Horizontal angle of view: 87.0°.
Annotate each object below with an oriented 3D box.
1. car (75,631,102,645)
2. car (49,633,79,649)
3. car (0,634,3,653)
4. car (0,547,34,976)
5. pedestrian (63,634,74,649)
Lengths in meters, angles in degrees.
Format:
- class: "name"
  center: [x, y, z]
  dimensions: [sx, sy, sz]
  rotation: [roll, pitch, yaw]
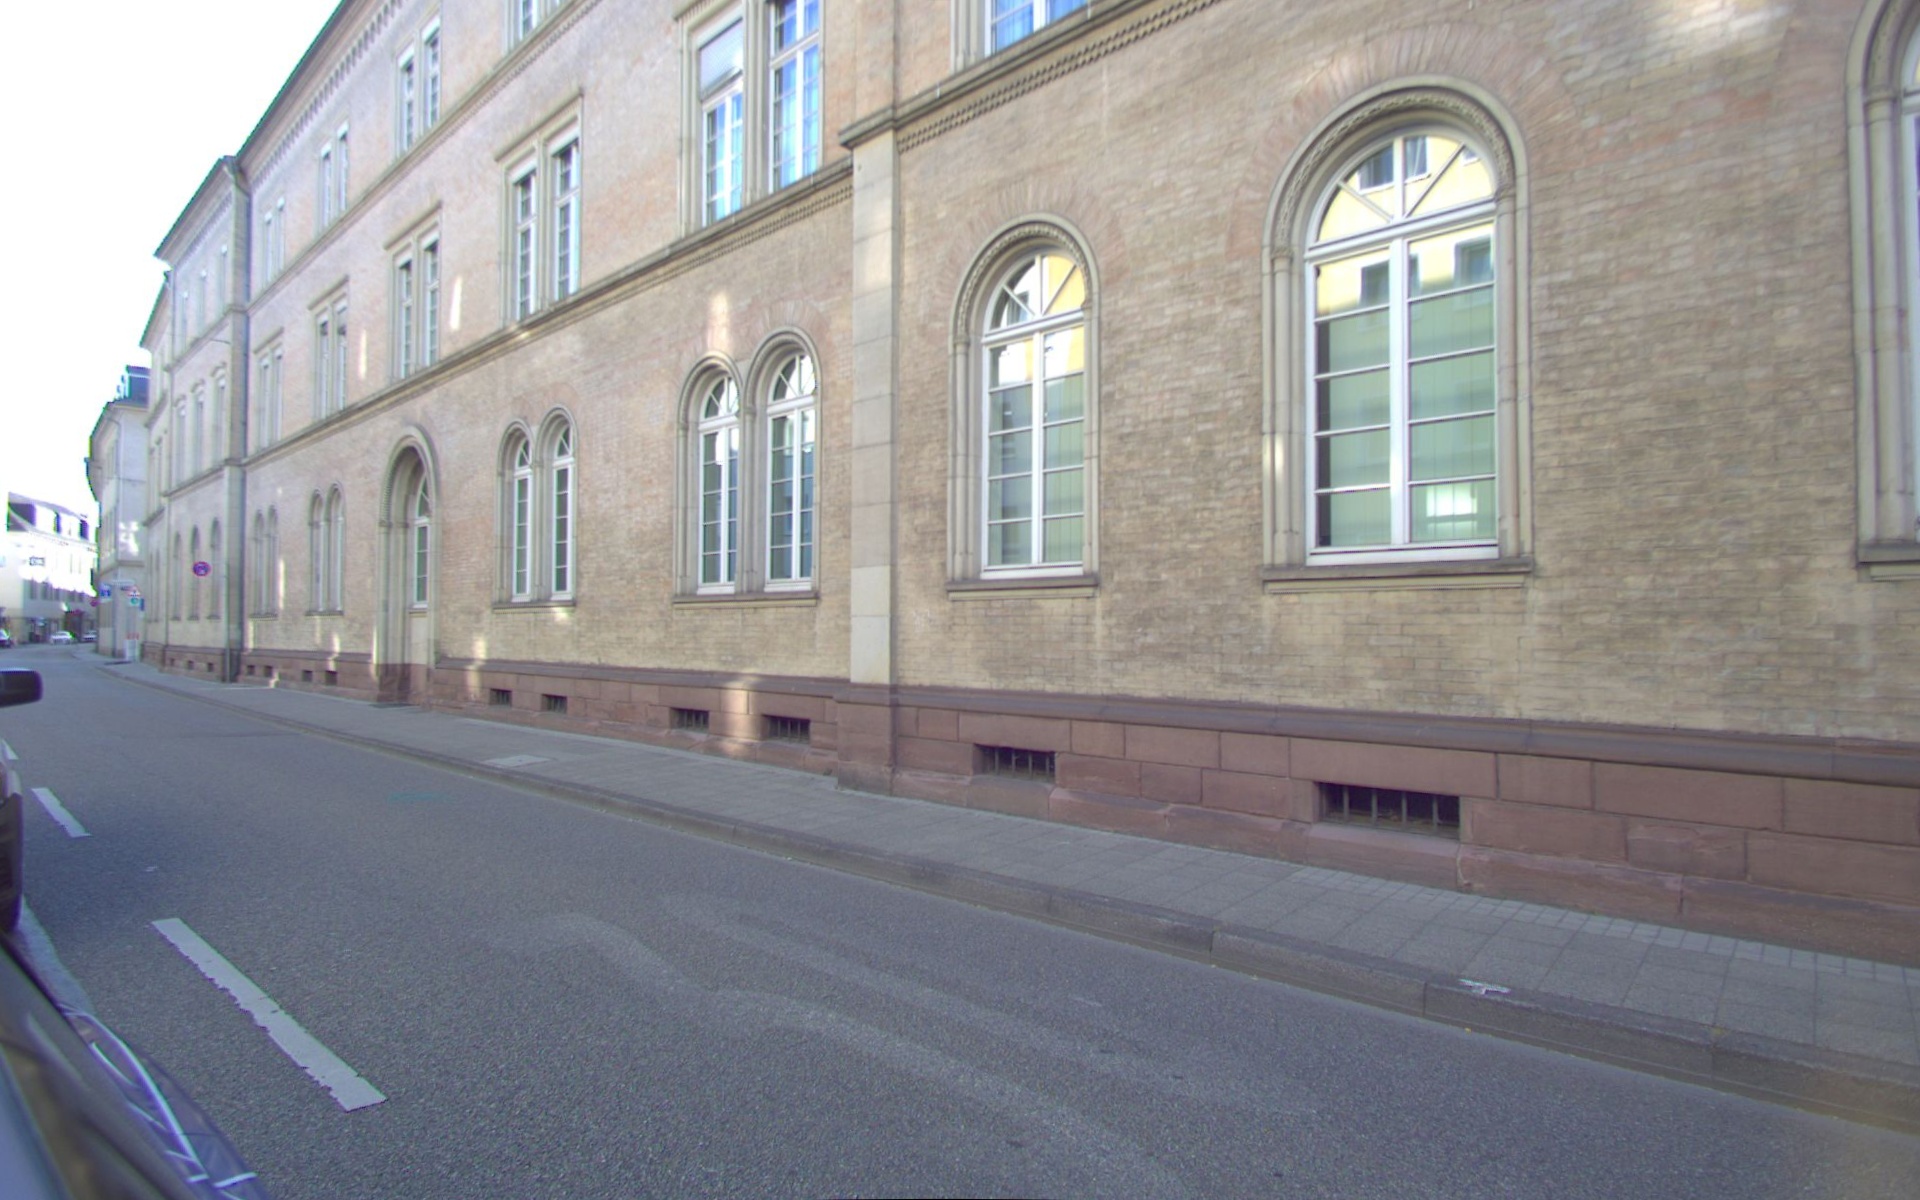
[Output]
- class: "car"
  center: [-109.217, 4.760, 126.836]
  dimensions: [1.966, 1.665, 4.240]
  rotation: [-1, 0, -33]
- class: "car"
  center: [-102.843, 4.682, 116.183]
  dimensions: [1.966, 1.665, 4.240]
  rotation: [-1, 0, -33]
- class: "car"
  center: [-86.603, 3.891, 89.957]
  dimensions: [1.969, 1.665, 4.235]
  rotation: [-1, 0, -41]
- class: "car"
  center: [-6.504, 0.680, 5.377]
  dimensions: [5.329, 1.784, 1.747]
  rotation: [-1, -2, 41]
- class: "pedestrian"
  center: [-94.817, 4.410, 107.650]
  dimensions: [0.694, 1.648, 0.834]
  rotation: [5, -4, -38]
